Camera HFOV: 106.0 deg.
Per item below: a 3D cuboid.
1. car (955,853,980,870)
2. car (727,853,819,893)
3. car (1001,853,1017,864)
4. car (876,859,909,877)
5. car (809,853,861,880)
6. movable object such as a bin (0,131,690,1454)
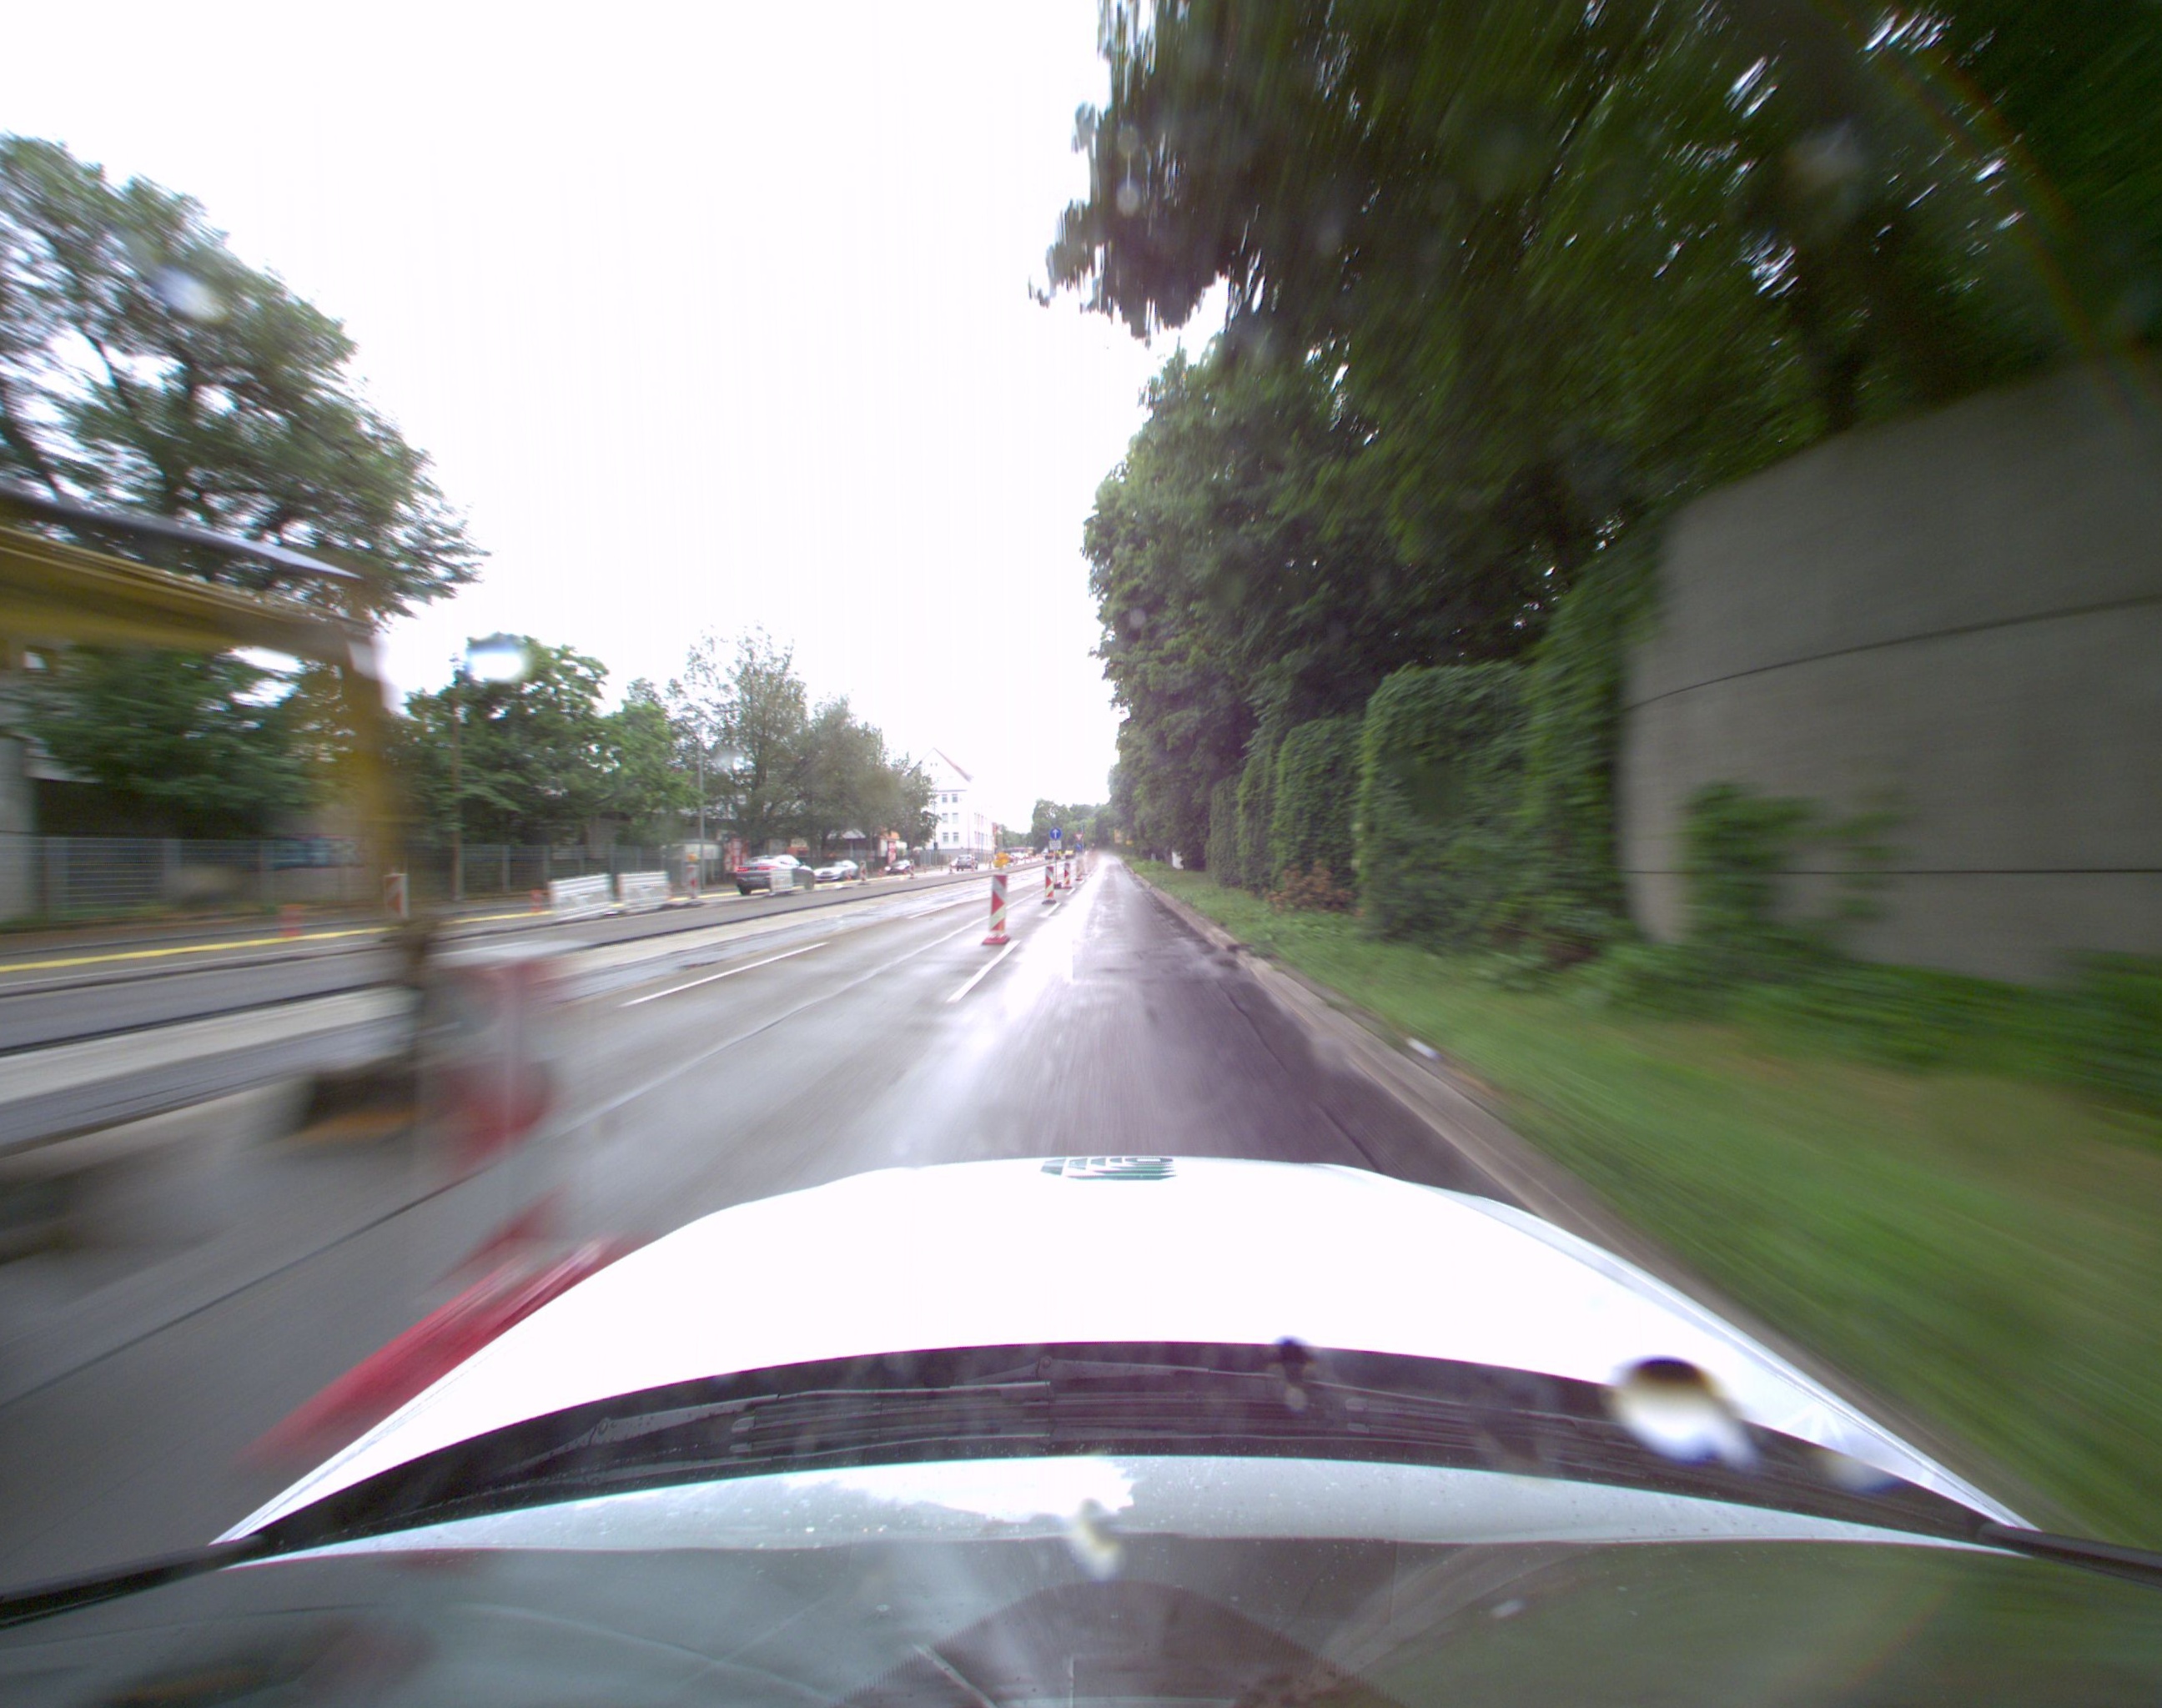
[{"bbox_3d":[-11.791,0.785,84.744,1.847,1.648,4.002,-1,0,2],"label":"car"},{"bbox_3d":[-13.577,0.810,36.268,2.069,1.613,5.057,-1,0,1],"label":"car"},{"bbox_3d":[-10.753,0.695,121.698,1.986,1.519,4.001,-1,0,2],"label":"car"},{"bbox_3d":[-18.446,1.347,79.919,1.986,1.586,4.621,-1,0,2],"label":"car"},{"bbox_3d":[-16.335,0.812,54.294,1.986,1.766,4.281,-1,0,2],"label":"car"},{"bbox_3d":[-3.727,-0.154,2.461,1.986,3.367,5.985,-1,0,2],"label":"movable object such as a bin"}]
